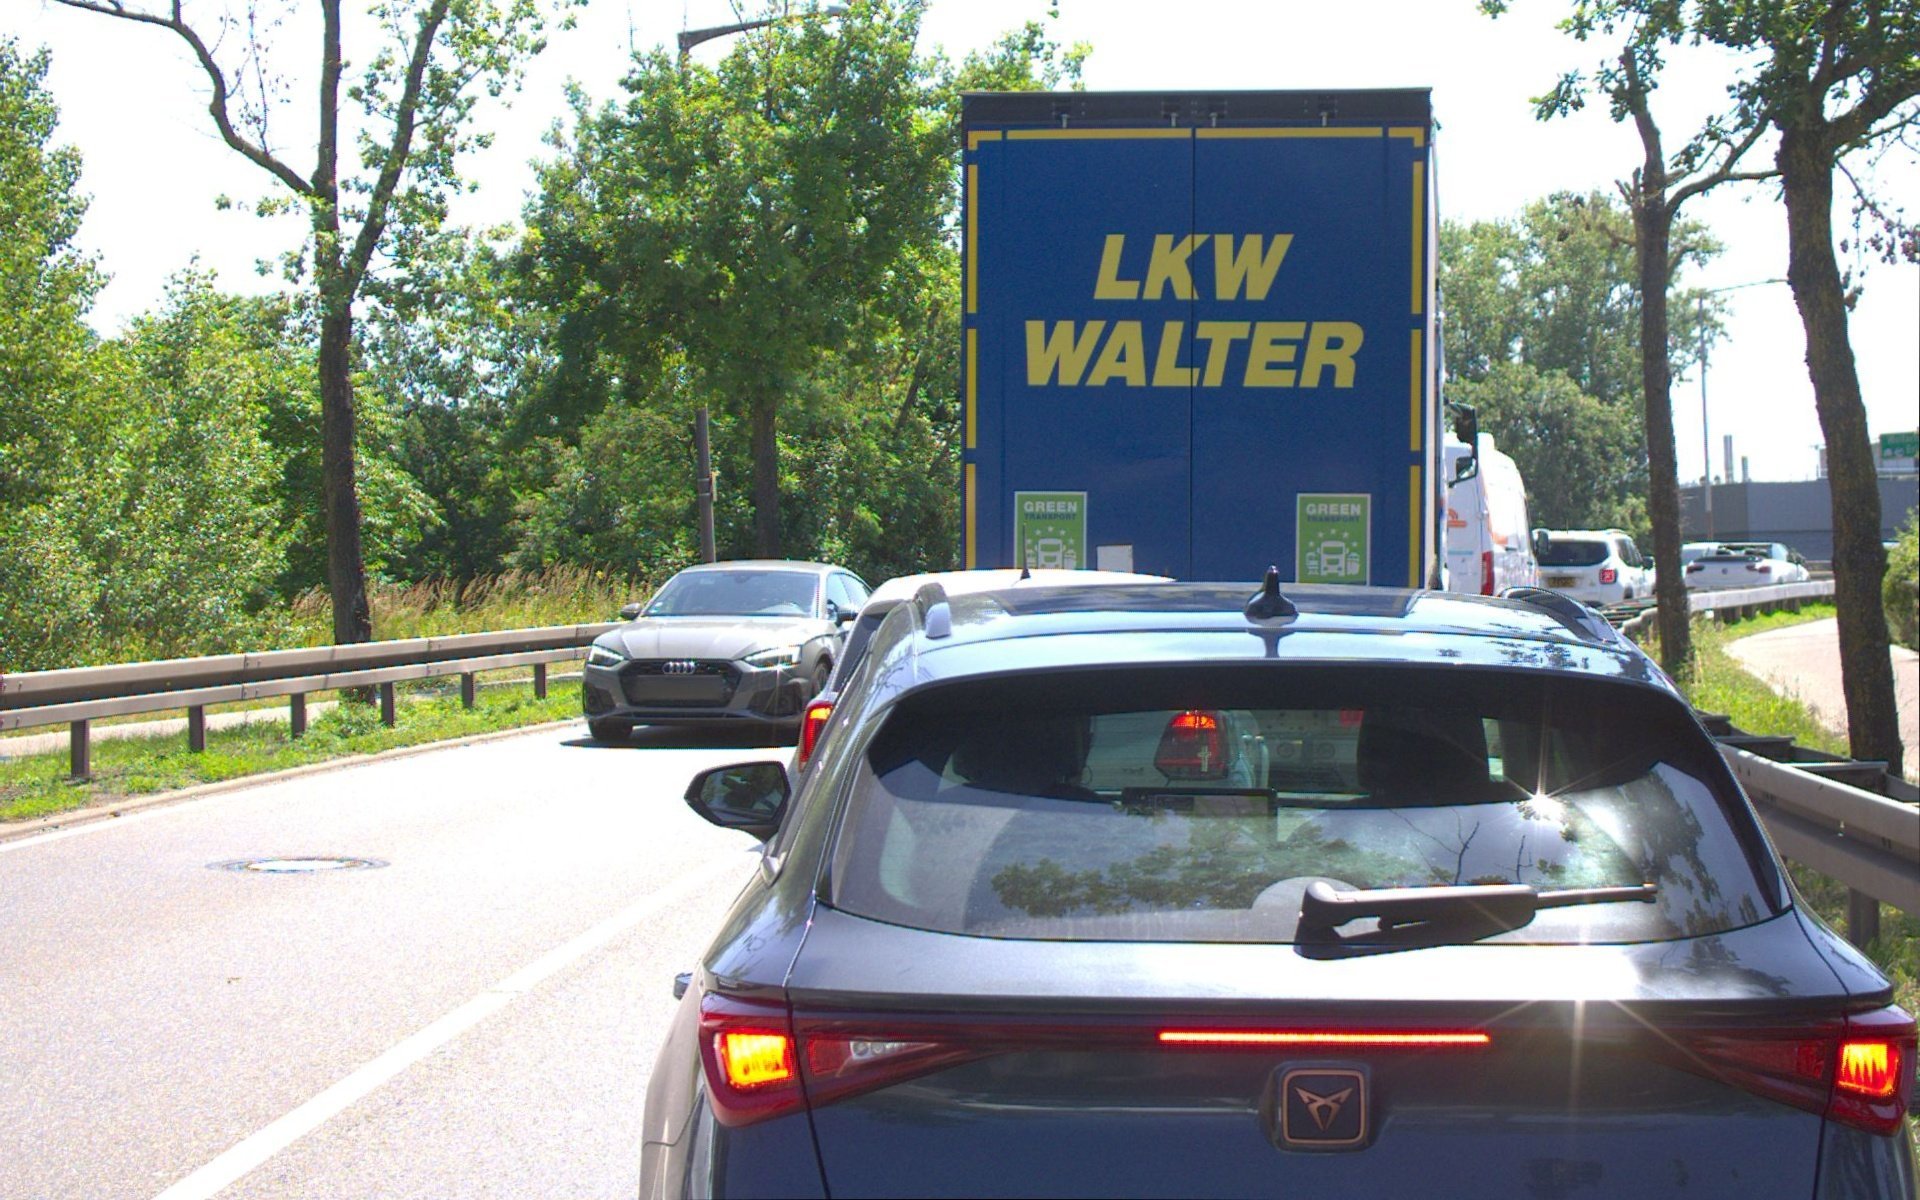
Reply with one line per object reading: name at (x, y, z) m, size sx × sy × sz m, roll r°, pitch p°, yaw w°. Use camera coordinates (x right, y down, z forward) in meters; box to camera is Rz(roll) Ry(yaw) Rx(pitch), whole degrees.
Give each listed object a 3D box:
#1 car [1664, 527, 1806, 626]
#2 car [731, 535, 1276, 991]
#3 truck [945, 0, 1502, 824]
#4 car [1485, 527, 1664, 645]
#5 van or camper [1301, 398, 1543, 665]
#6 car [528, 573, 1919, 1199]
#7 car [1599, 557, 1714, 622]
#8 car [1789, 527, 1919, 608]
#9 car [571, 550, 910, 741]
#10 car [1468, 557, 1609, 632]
car at (14.859, -0.465, 65.759) m, size 1.995 × 1.802 × 4.840 m, roll 1°, pitch 1°, yaw 20°
car at (0.188, 0.516, 13.520) m, size 1.809 × 1.503 × 4.000 m, roll 1°, pitch 1°, yaw 1°
truck at (2.492, -1.151, 26.894) m, size 2.950 × 4.433 × 16.793 m, roll 1°, pitch 1°, yaw 7°
car at (9.465, -0.232, 52.701) m, size 1.995 × 1.706 × 4.616 m, roll 1°, pitch 1°, yaw 19°
van or camper at (5.705, -0.817, 41.726) m, size 2.467 × 2.988 × 6.083 m, roll 1°, pitch 1°, yaw 12°
car at (0.405, 0.694, 5.607) m, size 1.744 × 1.427 × 3.880 m, roll 1°, pitch 1°, yaw 0°
car at (15.844, -0.256, 78.093) m, size 1.859 × 1.391 × 4.401 m, roll 1°, pitch 1°, yaw 21°
car at (19.862, -0.722, 75.983) m, size 1.996 × 1.711 × 4.862 m, roll 1°, pitch 1°, yaw 25°
car at (-1.673, 0.306, 27.803) m, size 1.760 × 1.391 × 4.404 m, roll 1°, pitch 1°, yaw 10°
car at (11.210, -0.129, 66.382) m, size 1.859 × 1.391 × 4.401 m, roll 1°, pitch 1°, yaw 21°
